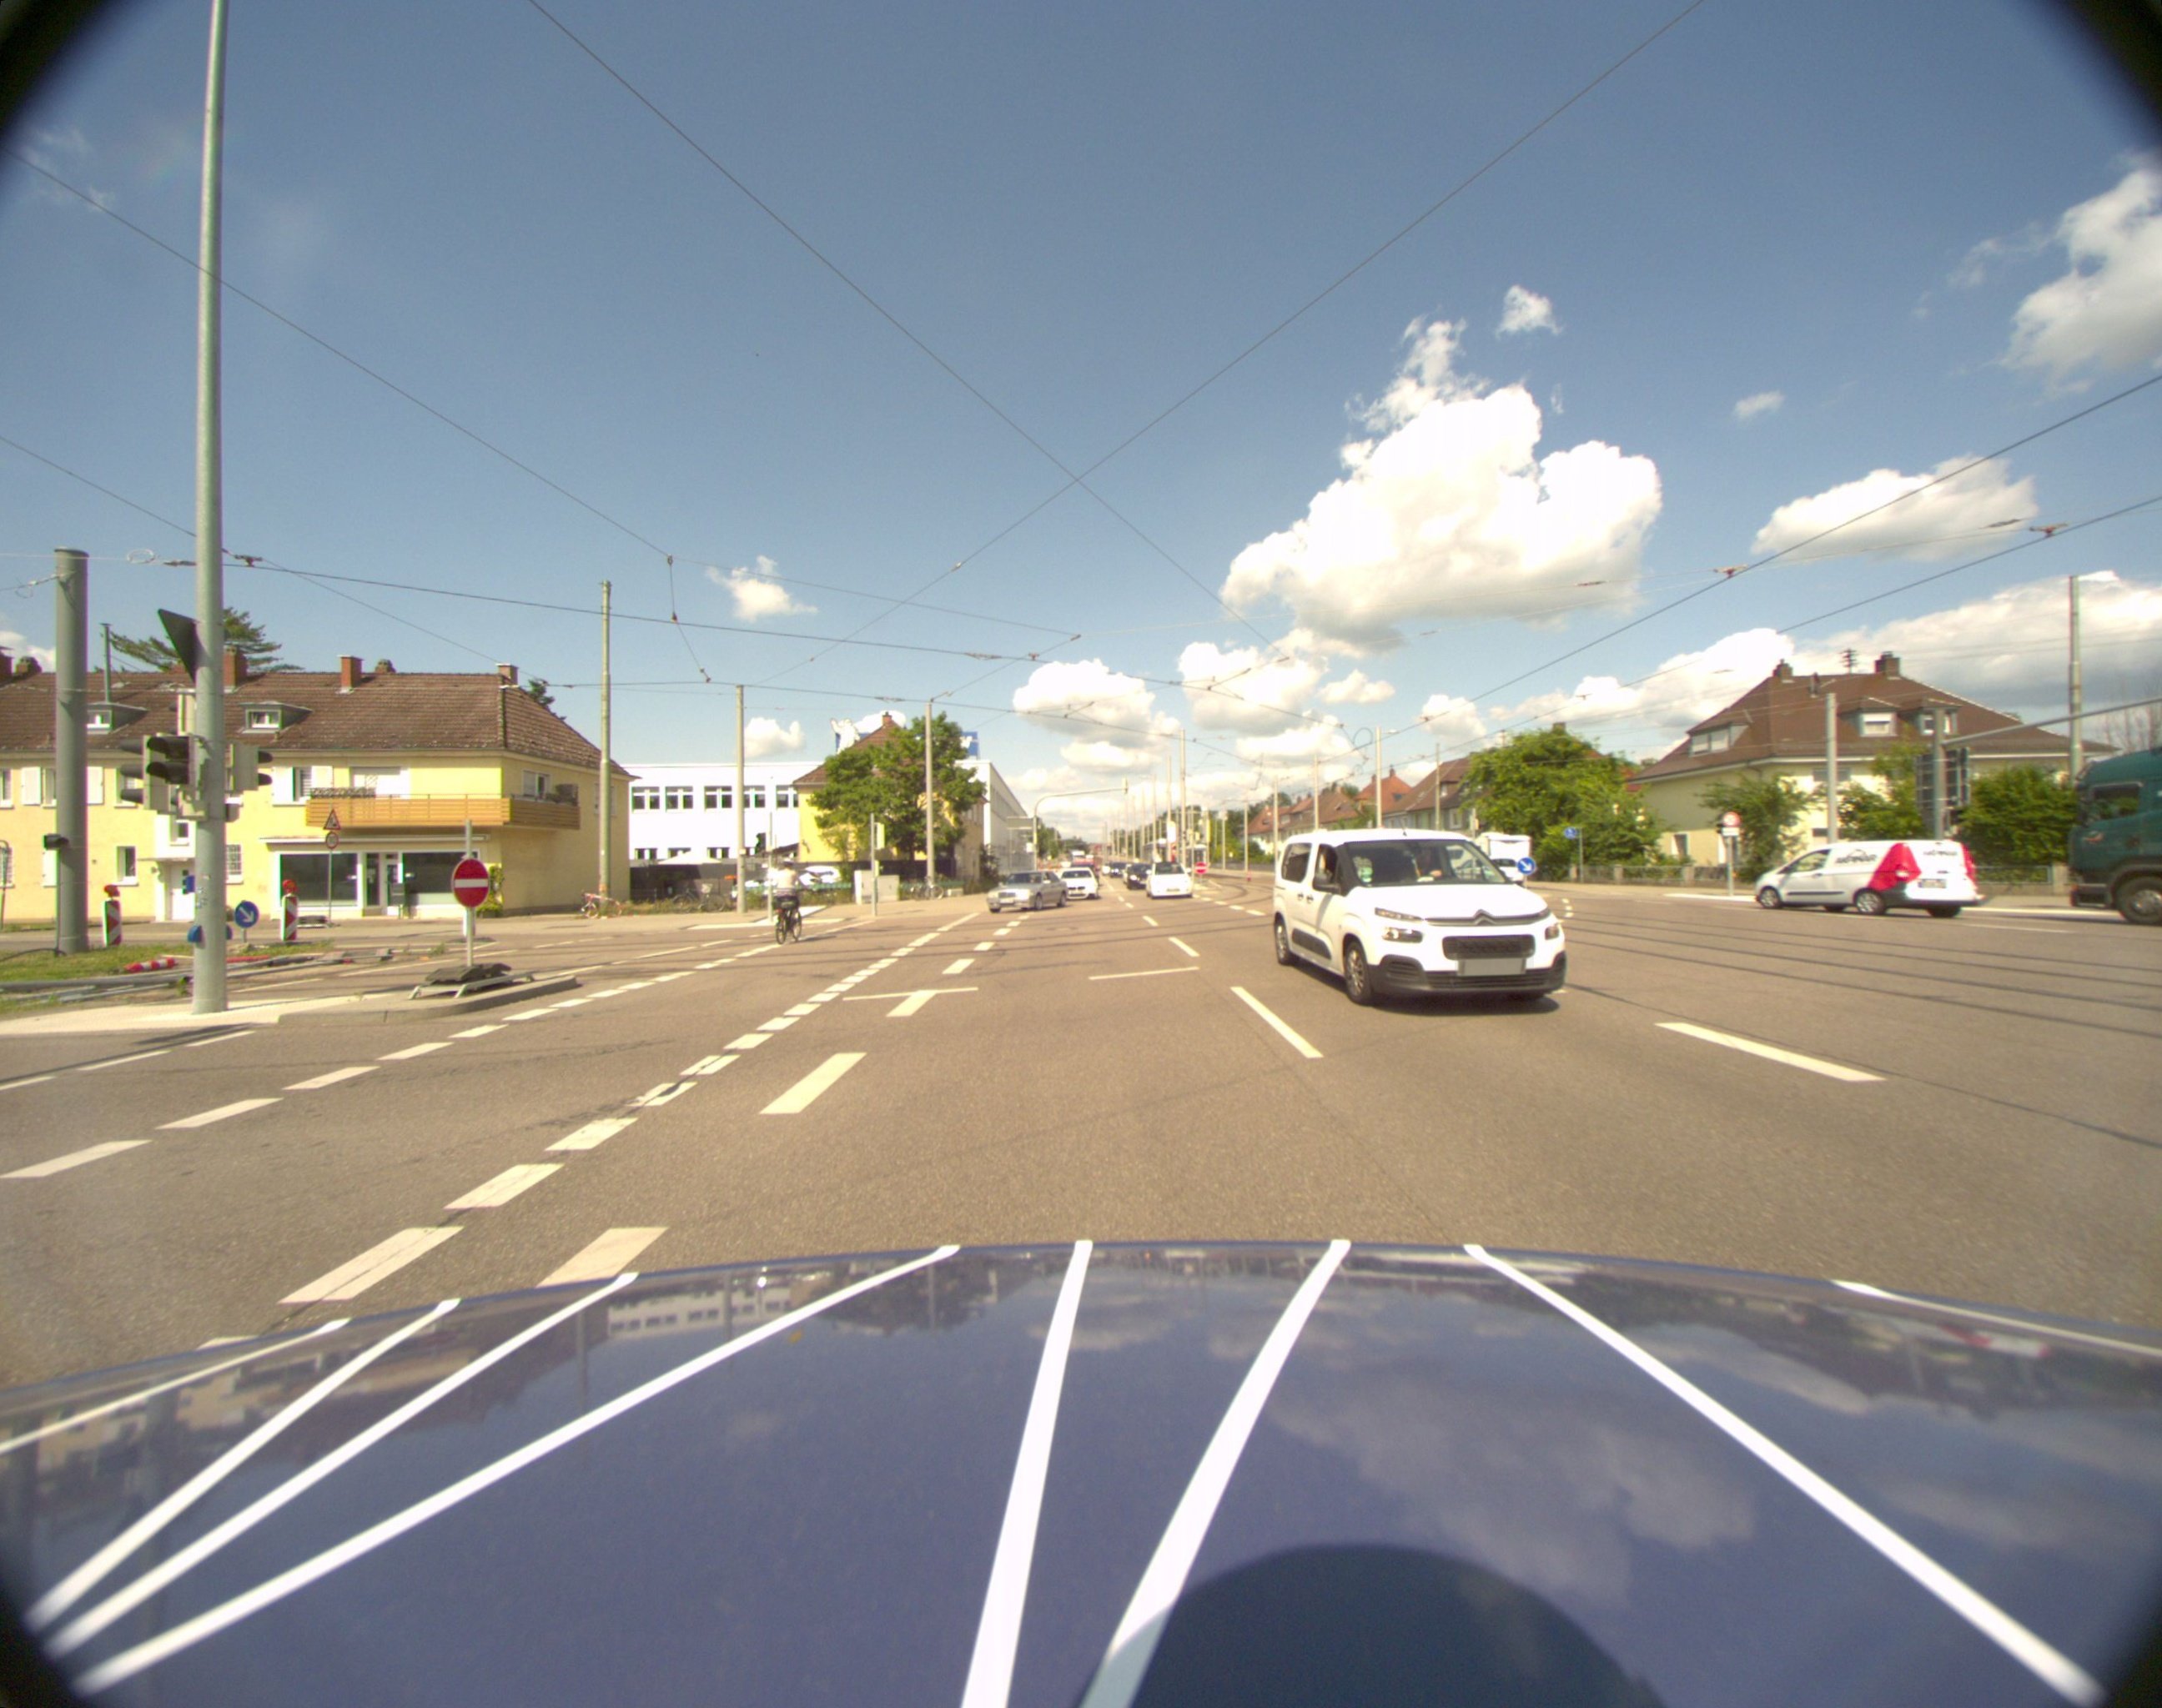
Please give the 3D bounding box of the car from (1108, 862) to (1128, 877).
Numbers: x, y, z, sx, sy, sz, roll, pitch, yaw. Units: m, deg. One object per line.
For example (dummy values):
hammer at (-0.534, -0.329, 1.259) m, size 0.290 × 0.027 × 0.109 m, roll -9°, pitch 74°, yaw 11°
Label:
car at (3.691, 1.553, 76.903) m, size 1.698 × 1.350 × 4.498 m, roll -2°, pitch 0°, yaw -1°

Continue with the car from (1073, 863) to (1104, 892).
car at (0.382, 1.333, 44.565) m, size 1.664 × 1.529 × 3.999 m, roll -2°, pitch 0°, yaw -1°

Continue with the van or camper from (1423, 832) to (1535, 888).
van or camper at (22.589, 0.252, 43.644) m, size 2.330 × 2.913 × 7.753 m, roll 0°, pitch 1°, yaw 0°

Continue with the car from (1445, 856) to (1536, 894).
car at (19.040, 0.935, 35.523) m, size 1.998 × 1.543 × 4.178 m, roll 2°, pitch 0°, yaw 1°

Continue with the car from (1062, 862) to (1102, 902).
car at (0.001, 1.229, 34.468) m, size 1.664 × 1.564 × 3.999 m, roll -2°, pitch 0°, yaw -1°

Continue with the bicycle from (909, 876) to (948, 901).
bicycle at (-6.820, 1.527, 33.961) m, size 0.462 × 1.012 × 1.759 m, roll -2°, pitch 1°, yaw 41°

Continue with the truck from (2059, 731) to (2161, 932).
truck at (21.603, -0.421, 12.983) m, size 2.605 × 3.798 × 5.669 m, roll 1°, pitch -1°, yaw 3°

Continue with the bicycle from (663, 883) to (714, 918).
bicycle at (-14.219, 1.668, 27.561) m, size 1.576 × 1.131 × 0.380 m, roll -3°, pitch 1°, yaw -27°

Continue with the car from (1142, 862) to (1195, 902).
car at (3.666, 1.147, 32.405) m, size 1.680 × 1.495 × 3.393 m, roll -2°, pitch 0°, yaw -2°

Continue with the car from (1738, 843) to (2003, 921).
car at (18.426, 0.570, 18.115) m, size 1.799 × 1.627 × 4.472 m, roll 0°, pitch 0°, yaw 3°

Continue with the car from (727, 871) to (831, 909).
car at (-13.920, 1.628, 35.190) m, size 4.118 × 1.587 × 1.800 m, roll -1°, pitch 0°, yaw -5°

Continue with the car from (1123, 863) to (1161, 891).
car at (3.455, 1.290, 43.578) m, size 1.680 × 1.414 × 3.558 m, roll -2°, pitch 0°, yaw -2°

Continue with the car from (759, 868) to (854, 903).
car at (-13.623, 1.558, 37.892) m, size 4.118 × 1.587 × 1.800 m, roll -1°, pitch 0°, yaw -5°

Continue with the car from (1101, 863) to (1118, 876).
car at (3.317, 1.821, 89.742) m, size 1.698 × 1.350 × 4.498 m, roll -2°, pitch 0°, yaw -1°

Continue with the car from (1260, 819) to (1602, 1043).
car at (3.439, 0.666, 8.527) m, size 1.799 × 1.804 × 4.330 m, roll -2°, pitch 0°, yaw 0°

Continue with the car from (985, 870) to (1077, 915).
car at (-1.673, 1.309, 27.197) m, size 1.723 × 1.389 × 4.469 m, roll -2°, pitch -1°, yaw 18°

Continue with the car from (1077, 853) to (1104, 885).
car at (0.632, 1.063, 56.321) m, size 1.787 × 2.134 × 5.168 m, roll -2°, pitch 0°, yaw -1°

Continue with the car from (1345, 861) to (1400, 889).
car at (19.122, 1.353, 50.113) m, size 1.998 × 1.766 × 4.879 m, roll 1°, pitch 0°, yaw 3°

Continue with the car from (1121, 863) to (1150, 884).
car at (4.051, 1.435, 57.024) m, size 1.698 × 1.350 × 4.498 m, roll -2°, pitch 0°, yaw -1°

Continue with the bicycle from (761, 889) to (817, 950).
bicycle at (-6.095, 1.350, 15.920) m, size 0.652 × 1.111 × 1.587 m, roll -2°, pitch 0°, yaw -6°

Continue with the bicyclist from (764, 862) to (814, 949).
bicyclist at (-6.104, 1.052, 15.929) m, size 0.652 × 1.727 × 0.984 m, roll -2°, pitch 1°, yaw -6°
